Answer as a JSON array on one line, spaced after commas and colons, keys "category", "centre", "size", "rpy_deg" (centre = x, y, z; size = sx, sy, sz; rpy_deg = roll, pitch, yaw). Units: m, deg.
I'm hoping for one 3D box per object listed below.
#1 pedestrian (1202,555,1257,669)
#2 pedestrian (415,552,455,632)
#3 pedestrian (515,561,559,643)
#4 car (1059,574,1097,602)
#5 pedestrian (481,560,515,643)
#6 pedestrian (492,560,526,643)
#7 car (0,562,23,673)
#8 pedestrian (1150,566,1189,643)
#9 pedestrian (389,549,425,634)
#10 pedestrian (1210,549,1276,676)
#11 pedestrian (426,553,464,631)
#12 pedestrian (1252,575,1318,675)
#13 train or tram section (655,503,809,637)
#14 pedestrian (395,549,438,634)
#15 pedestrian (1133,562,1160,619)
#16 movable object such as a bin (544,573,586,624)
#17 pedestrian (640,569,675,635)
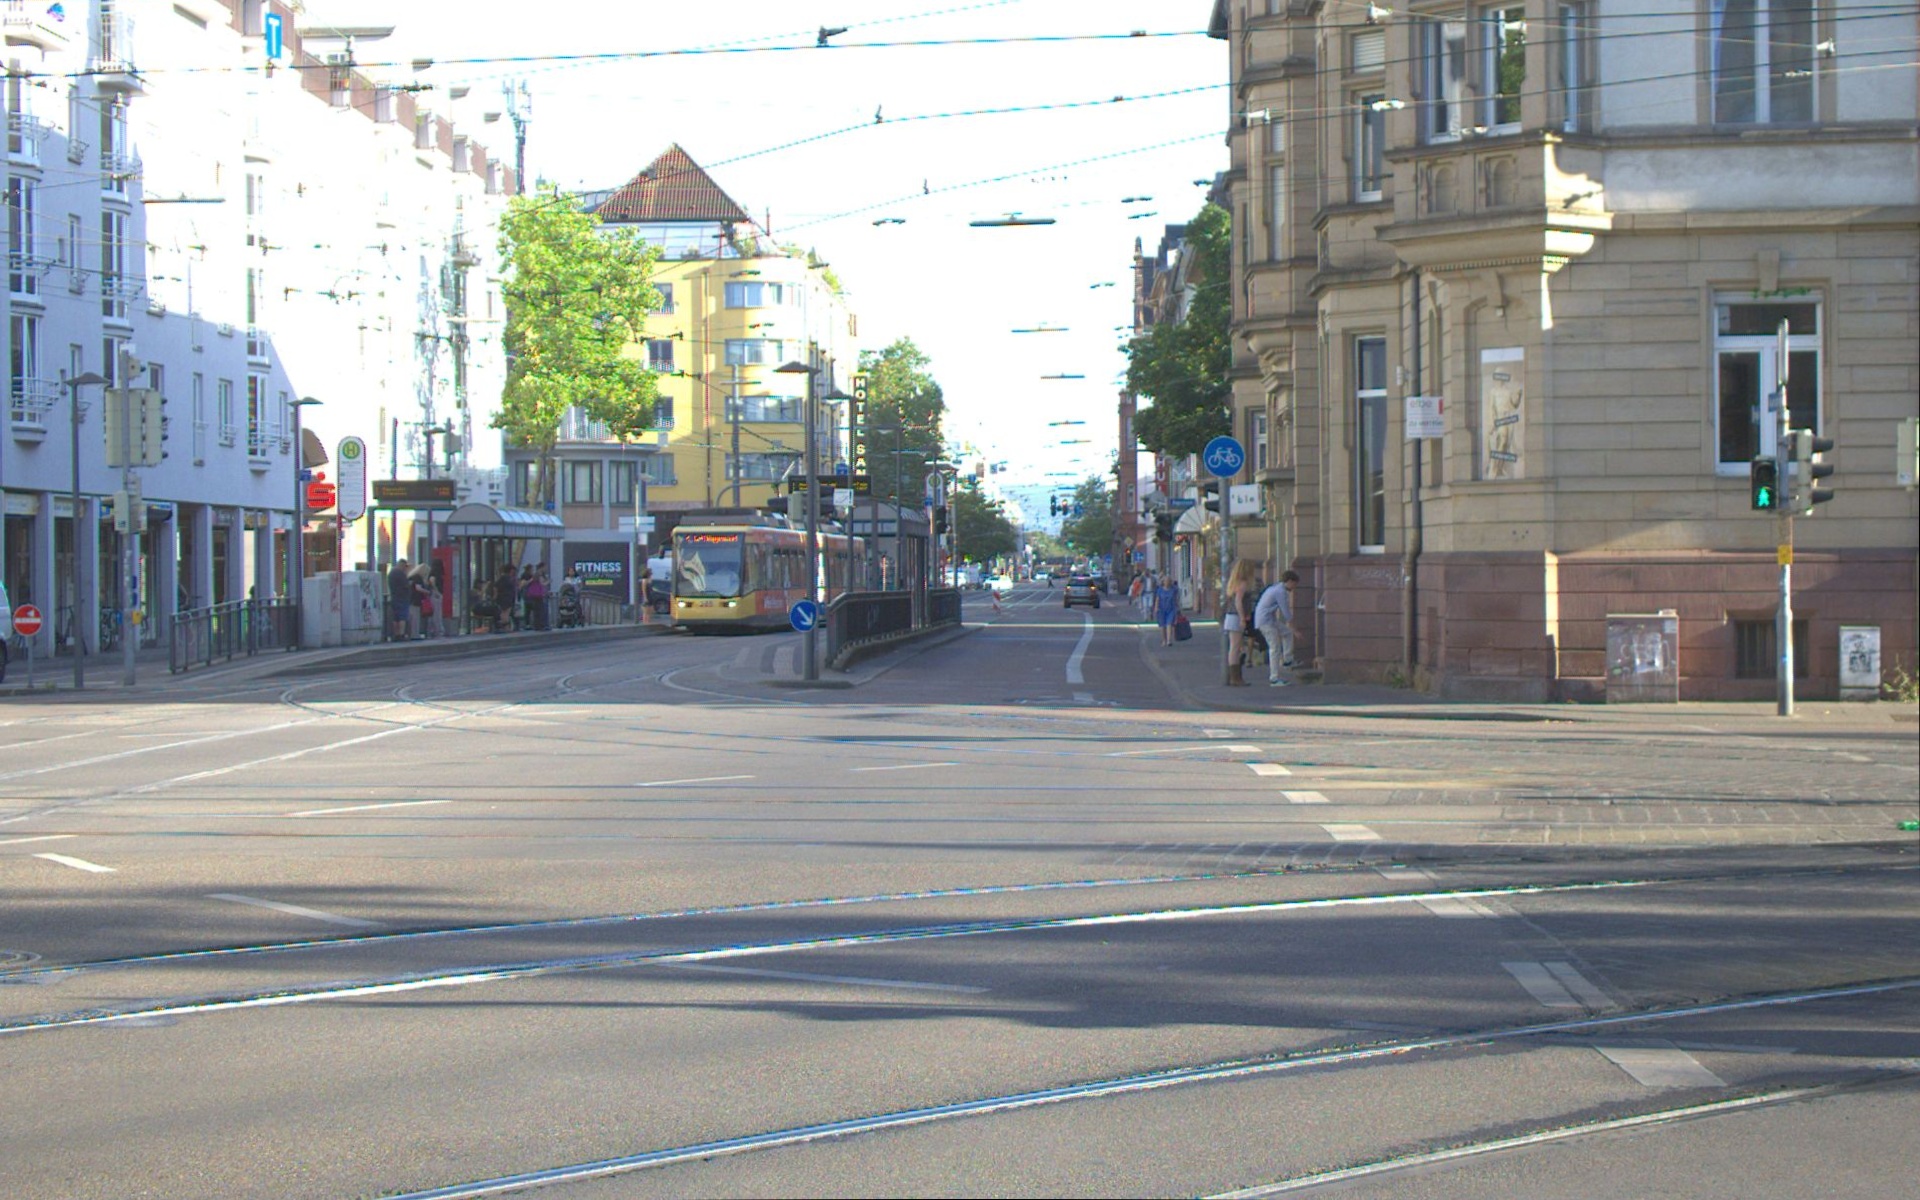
[{"category": "pedestrian", "centre": [4.413, 0.189, 56.270], "size": [0.801, 1.818, 0.797], "rpy_deg": [-2, 1, 2]}, {"category": "pedestrian", "centre": [-11.182, -0.176, 73.196], "size": [0.695, 1.685, 0.672], "rpy_deg": [0, 0, -21]}, {"category": "pedestrian", "centre": [-9.964, 0.046, 80.924], "size": [0.932, 1.898, 0.881], "rpy_deg": [0, 0, 0]}, {"category": "car", "centre": [6.245, -0.667, 182.051], "size": [1.993, 1.444, 4.000], "rpy_deg": [0, 1, 2]}, {"category": "pedestrian", "centre": [-10.590, 0.032, 78.824], "size": [0.695, 1.898, 0.672], "rpy_deg": [0, 0, 0]}, {"category": "pedestrian", "centre": [-10.406, 0.036, 79.377], "size": [0.695, 1.898, 0.672], "rpy_deg": [0, 0, 0]}, {"category": "car", "centre": [-16.860, 0.307, 55.254], "size": [1.993, 1.831, 5.346], "rpy_deg": [0, 1, 2]}, {"category": "pedestrian", "centre": [4.583, 0.101, 75.200], "size": [0.762, 1.640, 0.832], "rpy_deg": [-2, 1, 2]}, {"category": "pedestrian", "centre": [-11.065, -0.170, 68.767], "size": [0.599, 1.686, 0.613], "rpy_deg": [0, 0, 2]}, {"category": "pedestrian", "centre": [3.903, 0.175, 47.446], "size": [0.794, 1.715, 0.719], "rpy_deg": [-2, -1, 1]}, {"category": "pedestrian", "centre": [-11.206, -0.178, 74.811], "size": [0.695, 1.685, 0.672], "rpy_deg": [0, 0, -21]}, {"category": "pedestrian", "centre": [4.414, 0.339, 46.686], "size": [0.794, 1.327, 0.719], "rpy_deg": [-2, -1, 1]}, {"category": "train or tram section", "centre": [-6.414, -0.784, 99.086], "size": [2.885, 3.478, 14.166], "rpy_deg": [-2, 0, 2]}, {"category": "pedestrian", "centre": [-11.198, -0.175, 70.850], "size": [0.765, 1.727, 0.519], "rpy_deg": [0, 0, 44]}, {"category": "pedestrian", "centre": [5.950, -0.317, 109.623], "size": [0.713, 1.768, 0.773], "rpy_deg": [-3, 1, -1]}, {"category": "movable object such as a bin", "centre": [-10.007, -0.044, 87.138], "size": [0.937, 1.282, 0.935], "rpy_deg": [0, 0, 0]}, {"category": "pedestrian", "centre": [-8.836, 0.059, 100.260], "size": [0.878, 1.898, 0.935], "rpy_deg": [0, 0, -14]}]
